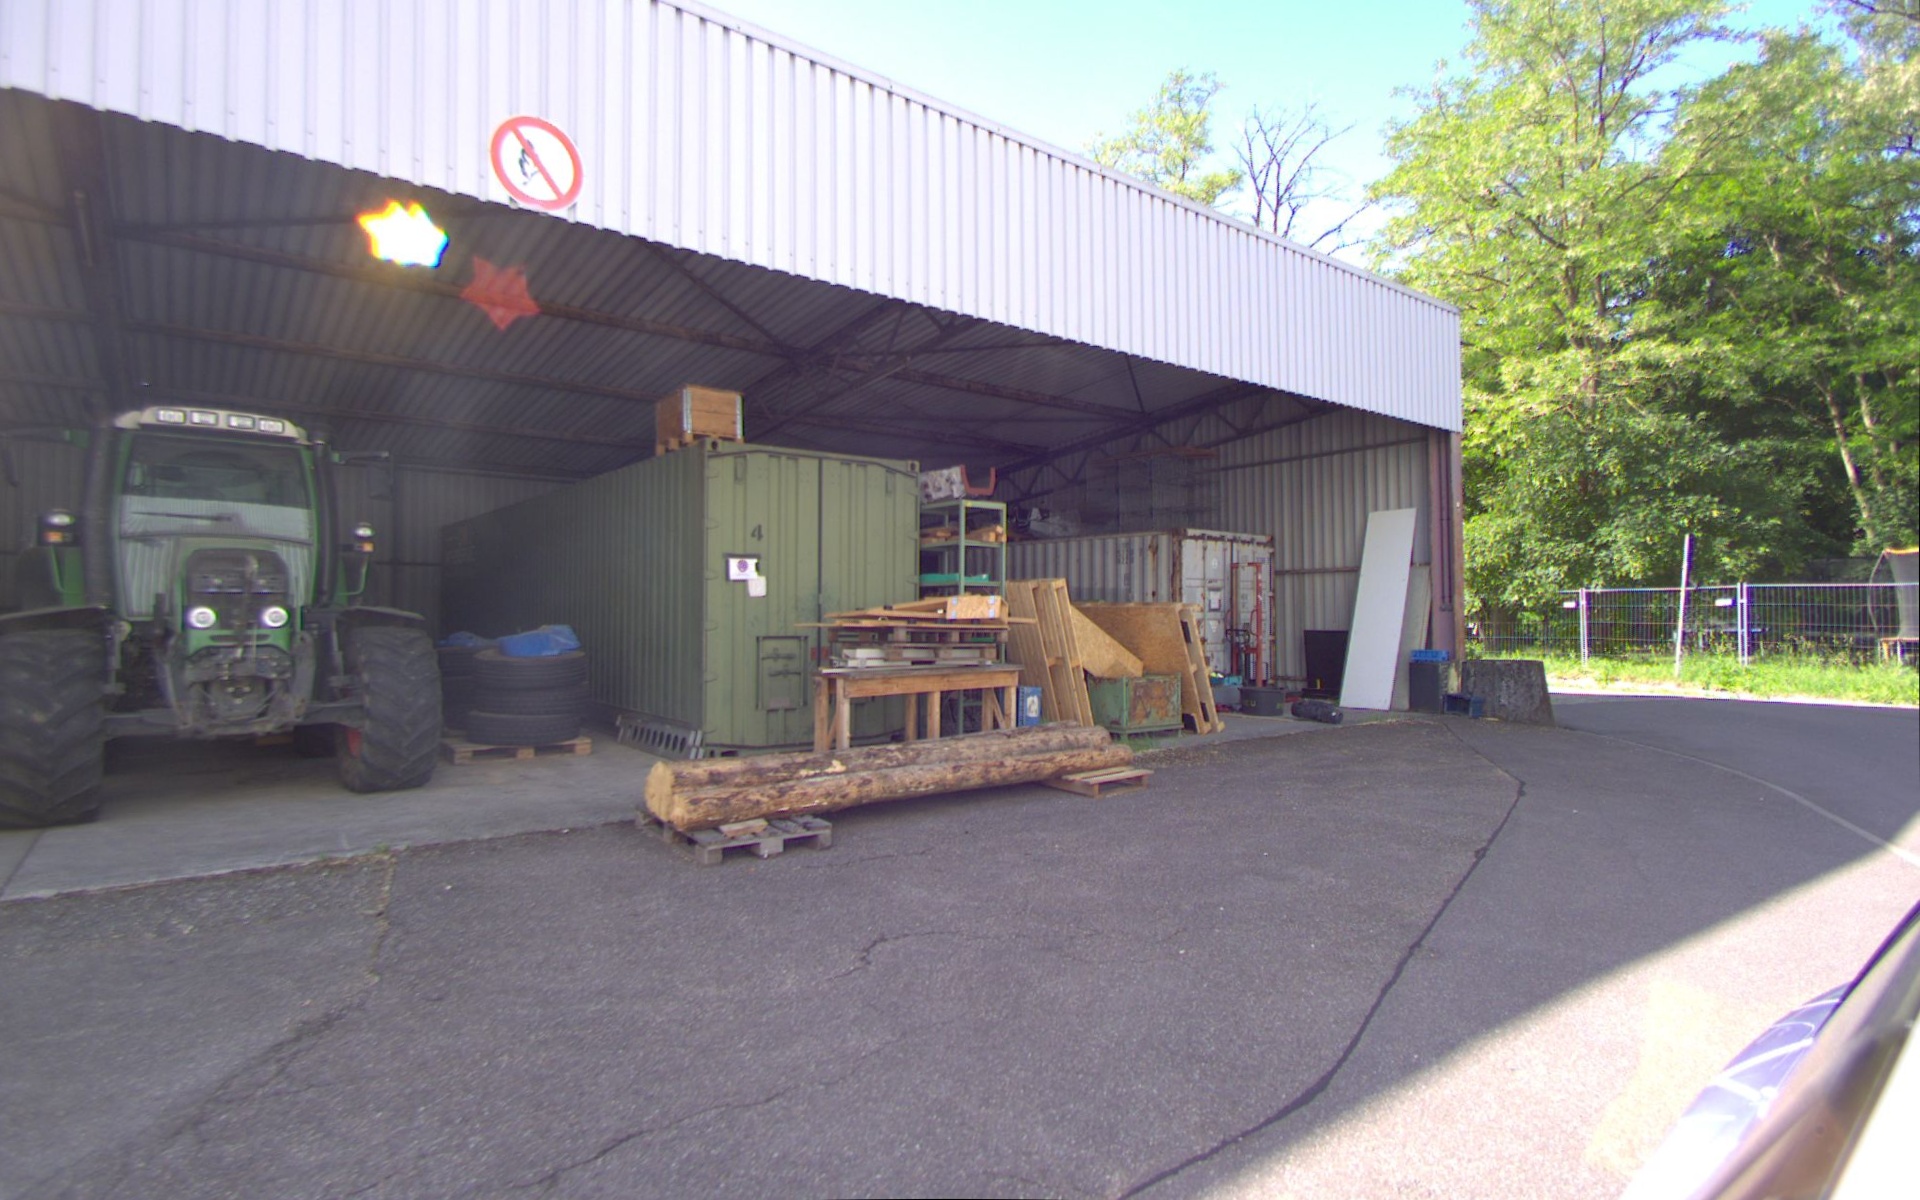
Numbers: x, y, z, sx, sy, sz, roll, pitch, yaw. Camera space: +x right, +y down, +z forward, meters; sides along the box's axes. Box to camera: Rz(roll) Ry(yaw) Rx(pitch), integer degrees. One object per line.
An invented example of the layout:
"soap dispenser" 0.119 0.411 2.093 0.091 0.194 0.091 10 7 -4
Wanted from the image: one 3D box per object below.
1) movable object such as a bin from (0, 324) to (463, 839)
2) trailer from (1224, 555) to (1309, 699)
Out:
"movable object such as a bin" -6.562 -0.066 8.989 2.636 2.942 6.369 0 -1 -38
"trailer" 4.649 0.420 15.347 1.261 2.095 0.580 3 -6 -41
